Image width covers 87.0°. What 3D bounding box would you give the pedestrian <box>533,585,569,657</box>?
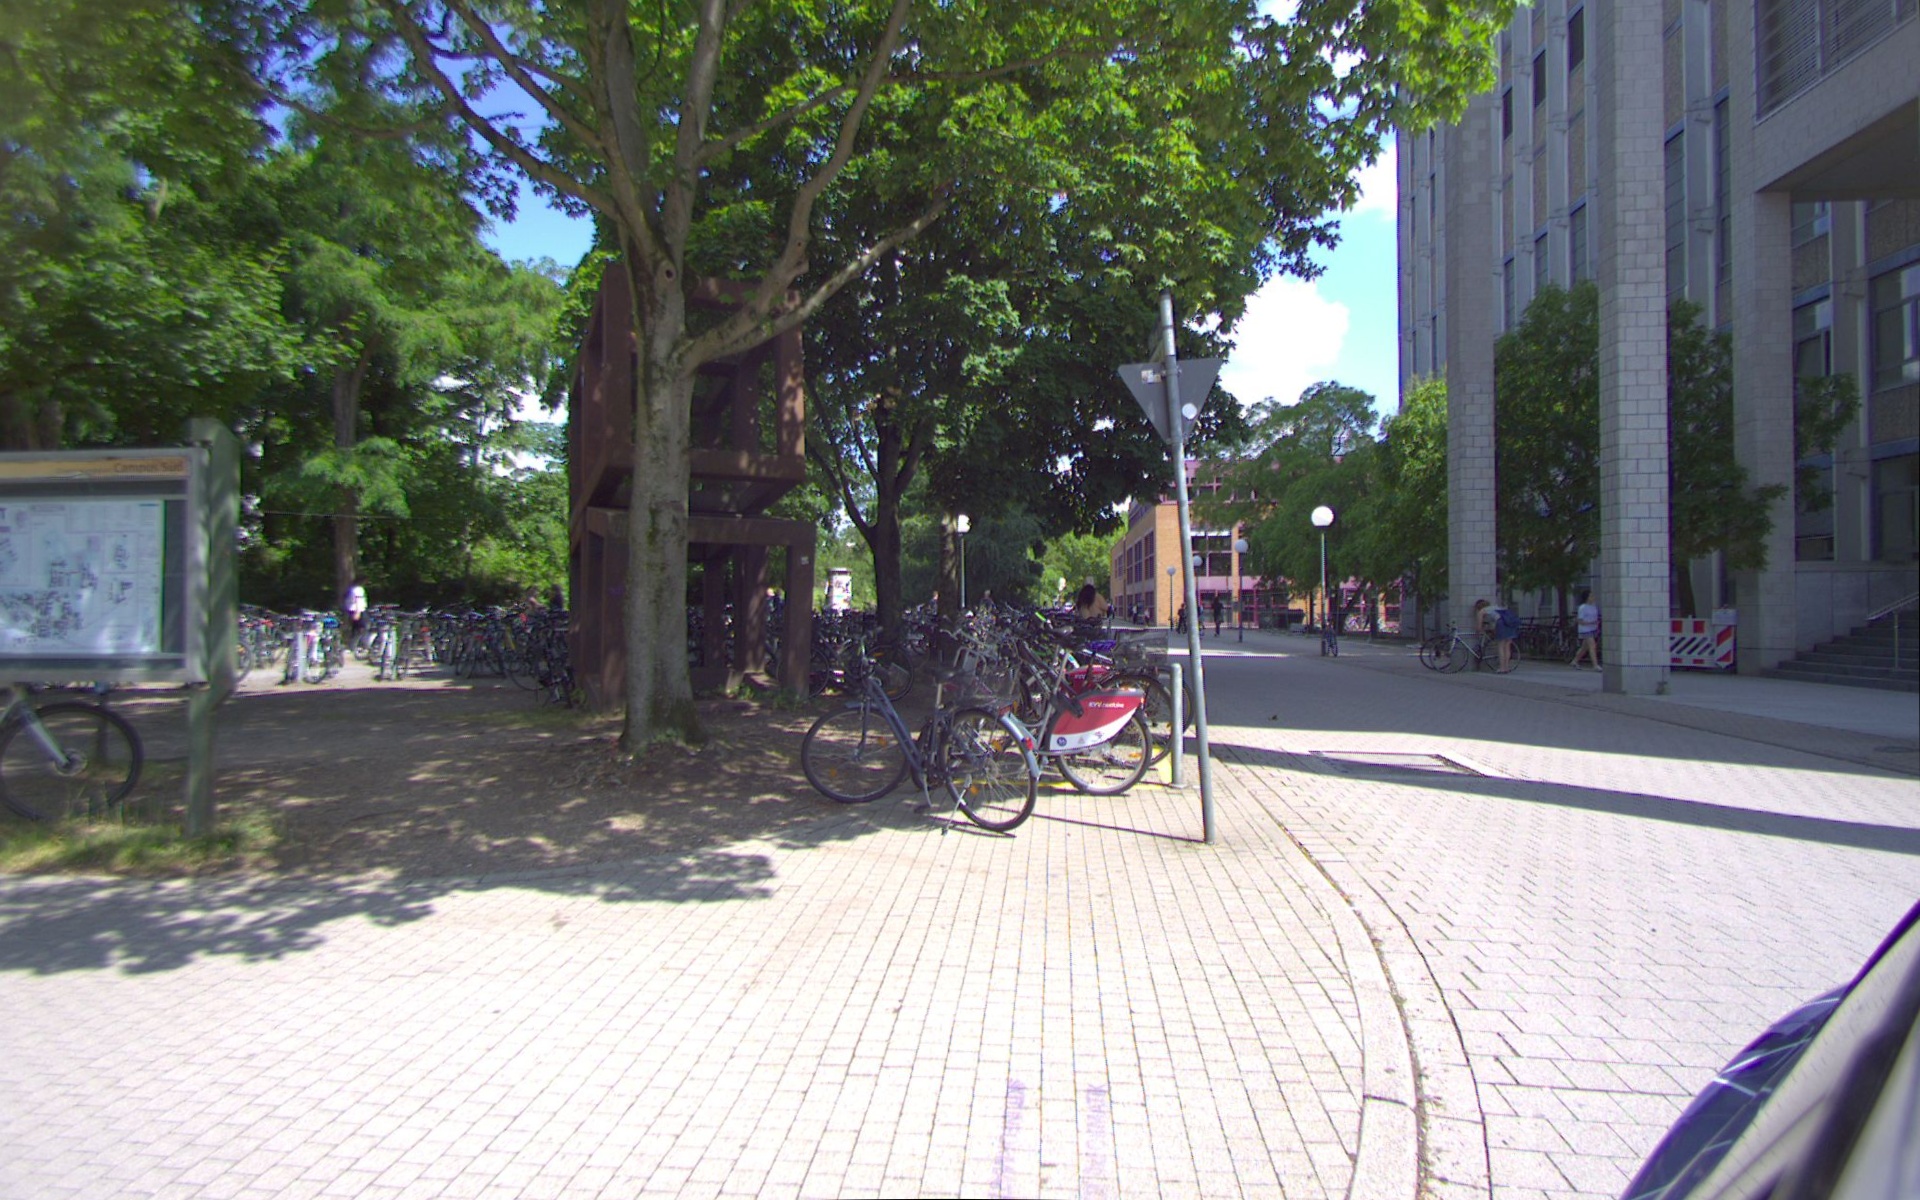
[{"bbox_3d":[-10.433,0.515,25.819,0.795,1.797,0.856,0,0,-27],"label":"pedestrian"}]

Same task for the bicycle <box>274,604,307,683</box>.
[{"bbox_3d":[-10.655,0.661,16.125,0.346,1.185,1.847,0,0,-31],"label":"bicycle"}]

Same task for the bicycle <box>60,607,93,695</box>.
[{"bbox_3d":[-12.740,0.698,14.594,0.339,1.185,1.842,0,0,-41],"label":"bicycle"}]

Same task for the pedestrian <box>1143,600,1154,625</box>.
[{"bbox_3d":[14.224,0.945,76.344,0.731,1.785,0.974,0,2,5],"label":"pedestrian"}]

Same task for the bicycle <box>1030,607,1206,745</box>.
[{"bbox_3d":[1.316,0.629,8.587,1.414,1.099,0.460,1,1,4],"label":"bicycle"}]

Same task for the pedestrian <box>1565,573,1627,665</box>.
[{"bbox_3d":[12.549,0.380,20.002,0.738,1.762,0.933,-1,-1,14],"label":"pedestrian"}]

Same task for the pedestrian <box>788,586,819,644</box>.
[{"bbox_3d":[-5.001,0.475,32.382,0.708,1.812,0.744,0,0,-38],"label":"pedestrian"}]

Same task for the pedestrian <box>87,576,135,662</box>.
[{"bbox_3d":[-18.186,0.398,21.694,0.707,1.797,0.745,0,0,-34],"label":"pedestrian"}]

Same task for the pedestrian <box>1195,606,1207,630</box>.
[{"bbox_3d":[15.647,1.153,65.624,0.679,1.530,0.515,0,2,4],"label":"pedestrian"}]

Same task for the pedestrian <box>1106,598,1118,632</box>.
[{"bbox_3d":[8.032,0.785,53.385,0.555,1.785,0.803,0,2,4],"label":"pedestrian"}]

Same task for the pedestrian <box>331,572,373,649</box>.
[{"bbox_3d":[-14.647,0.246,24.383,0.742,1.797,0.709,0,0,44],"label":"pedestrian"}]

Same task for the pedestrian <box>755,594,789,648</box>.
[{"bbox_3d":[-5.664,0.618,30.536,0.742,1.589,0.710,0,0,43],"label":"pedestrian"}]

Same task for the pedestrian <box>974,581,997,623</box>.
[{"bbox_3d":[0.969,0.088,38.543,0.734,1.589,0.718,0,0,14],"label":"pedestrian"}]

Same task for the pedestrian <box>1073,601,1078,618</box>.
[{"bbox_3d":[12.461,1.033,109.096,0.556,1.785,0.802,0,2,11],"label":"pedestrian"}]

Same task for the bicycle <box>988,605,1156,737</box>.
[{"bbox_3d":[1.003,0.618,9.097,1.449,1.099,0.460,1,1,7],"label":"bicycle"}]

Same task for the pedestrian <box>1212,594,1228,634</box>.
[{"bbox_3d":[12.163,0.637,47.325,0.733,1.785,0.971,0,2,15],"label":"pedestrian"}]

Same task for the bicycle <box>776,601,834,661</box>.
[{"bbox_3d":[-3.251,0.620,21.100,0.339,1.185,1.843,0,0,-38],"label":"bicycle"}]

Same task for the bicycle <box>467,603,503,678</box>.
[{"bbox_3d":[-8.014,0.642,17.039,0.380,1.185,1.847,0,0,-31],"label":"bicycle"}]

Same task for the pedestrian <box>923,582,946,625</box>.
[{"bbox_3d":[-0.949,0.131,37.802,0.734,1.589,0.718,0,0,14],"label":"pedestrian"}]

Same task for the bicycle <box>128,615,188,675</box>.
[{"bbox_3d":[-14.624,0.788,18.490,0.371,0.991,1.907,-1,1,-24],"label":"bicycle"}]

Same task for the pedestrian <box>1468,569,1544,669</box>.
[{"bbox_3d":[9.956,0.345,18.479,0.733,1.762,0.939,-1,-1,-13],"label":"pedestrian"}]

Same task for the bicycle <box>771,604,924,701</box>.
[{"bbox_3d":[-1.368,0.615,12.317,1.800,1.091,0.462,1,1,14],"label":"bicycle"}]

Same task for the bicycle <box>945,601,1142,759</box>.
[{"bbox_3d":[0.665,0.607,8.215,1.510,1.155,0.488,1,1,26],"label":"bicycle"}]

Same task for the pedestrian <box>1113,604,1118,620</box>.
[{"bbox_3d":[17.295,1.321,112.570,0.556,1.785,0.802,0,2,11],"label":"pedestrian"}]

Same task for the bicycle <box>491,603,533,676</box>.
[{"bbox_3d":[-7.738,0.656,17.450,0.381,1.185,1.846,0,0,-33],"label":"bicycle"}]

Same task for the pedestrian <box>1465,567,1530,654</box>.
[{"bbox_3d":[11.223,0.216,21.156,0.733,1.762,0.939,-1,-1,-13],"label":"pedestrian"}]

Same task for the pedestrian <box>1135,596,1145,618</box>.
[{"bbox_3d":[15.408,0.574,86.652,0.731,1.785,0.974,0,2,5],"label":"pedestrian"}]

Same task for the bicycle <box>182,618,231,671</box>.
[{"bbox_3d":[-15.498,0.892,20.842,0.371,0.991,1.907,-1,1,-24],"label":"bicycle"}]

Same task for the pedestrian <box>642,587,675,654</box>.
[{"bbox_3d":[-8.149,0.546,27.342,0.706,1.797,0.657,0,0,-31],"label":"pedestrian"}]

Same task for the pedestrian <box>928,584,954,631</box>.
[{"bbox_3d":[-0.648,0.256,35.009,0.734,1.589,0.718,0,0,14],"label":"pedestrian"}]

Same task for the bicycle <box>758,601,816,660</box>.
[{"bbox_3d":[-3.602,0.605,20.991,0.339,1.185,1.843,0,0,-38],"label":"bicycle"}]

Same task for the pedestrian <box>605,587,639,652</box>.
[{"bbox_3d":[-9.521,0.524,28.502,0.708,1.797,0.744,0,0,-40],"label":"pedestrian"}]

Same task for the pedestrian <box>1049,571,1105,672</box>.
[{"bbox_3d":[2.016,0.378,17.492,0.927,1.725,0.428,0,-2,2],"label":"pedestrian"}]

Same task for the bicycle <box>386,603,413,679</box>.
[{"bbox_3d":[-9.392,0.653,16.927,0.346,1.185,1.847,0,0,-31],"label":"bicycle"}]

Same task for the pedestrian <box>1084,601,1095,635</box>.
[{"bbox_3d":[5.971,0.807,46.614,0.506,1.530,0.690,0,2,8],"label":"pedestrian"}]

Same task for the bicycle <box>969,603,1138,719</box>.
[{"bbox_3d":[0.963,0.604,10.362,1.670,1.099,0.480,1,1,12],"label":"bicycle"}]

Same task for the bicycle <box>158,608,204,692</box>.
[{"bbox_3d":[-11.806,0.726,15.355,0.338,1.185,1.846,0,0,-31],"label":"bicycle"}]

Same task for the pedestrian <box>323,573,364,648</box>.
[{"bbox_3d":[-15.157,0.248,24.883,0.742,1.797,0.709,0,0,44],"label":"pedestrian"}]

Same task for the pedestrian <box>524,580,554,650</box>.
[{"bbox_3d":[-11.036,0.391,26.520,0.706,1.797,0.746,0,0,-26],"label":"pedestrian"}]

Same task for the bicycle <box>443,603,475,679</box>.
[{"bbox_3d":[-8.428,0.656,16.998,0.346,1.185,1.847,0,0,-31],"label":"bicycle"}]

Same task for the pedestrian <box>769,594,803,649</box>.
[{"bbox_3d":[-5.156,0.625,29.929,0.708,1.589,0.743,0,0,-42],"label":"pedestrian"}]

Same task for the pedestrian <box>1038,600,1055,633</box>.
[{"bbox_3d":[4.174,0.784,48.768,0.506,1.530,0.691,-2,3,-37],"label":"pedestrian"}]

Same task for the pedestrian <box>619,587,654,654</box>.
[{"bbox_3d":[-8.892,0.543,27.789,0.707,1.797,0.744,0,0,-37],"label":"pedestrian"}]

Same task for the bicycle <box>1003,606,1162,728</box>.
[{"bbox_3d":[1.196,0.628,9.841,1.491,1.099,0.480,1,1,12],"label":"bicycle"}]

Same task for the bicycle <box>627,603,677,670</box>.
[{"bbox_3d":[-5.782,0.648,18.927,0.405,1.185,1.846,0,0,-33],"label":"bicycle"}]

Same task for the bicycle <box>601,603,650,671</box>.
[{"bbox_3d":[-6.187,0.646,18.655,0.405,1.185,1.846,0,0,-33],"label":"bicycle"}]

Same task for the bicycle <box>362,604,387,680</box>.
[{"bbox_3d":[-9.687,0.663,16.738,0.346,1.185,1.847,0,0,-31],"label":"bicycle"}]

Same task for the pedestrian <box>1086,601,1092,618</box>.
[{"bbox_3d":[13.897,1.046,108.754,0.556,1.785,0.802,0,2,11],"label":"pedestrian"}]

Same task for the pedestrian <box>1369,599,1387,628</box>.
[{"bbox_3d":[27.136,0.881,65.691,0.967,1.785,0.736,1,3,32],"label":"pedestrian"}]

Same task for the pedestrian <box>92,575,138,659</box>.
[{"bbox_3d":[-18.643,0.367,22.338,0.707,1.797,0.745,0,0,-34],"label":"pedestrian"}]

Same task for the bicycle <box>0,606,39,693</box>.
[{"bbox_3d":[-13.544,0.681,14.287,0.338,1.185,1.847,0,0,-28],"label":"bicycle"}]

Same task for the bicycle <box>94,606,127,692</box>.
[{"bbox_3d":[-12.458,0.685,14.830,0.339,1.185,1.842,0,0,-41],"label":"bicycle"}]

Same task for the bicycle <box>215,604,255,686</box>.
[{"bbox_3d":[-11.229,0.667,15.699,0.338,1.185,1.847,0,0,-31],"label":"bicycle"}]

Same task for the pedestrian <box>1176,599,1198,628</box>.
[{"bbox_3d":[12.485,0.738,55.738,0.726,1.530,1.189,2,3,40],"label":"pedestrian"}]

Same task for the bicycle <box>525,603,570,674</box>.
[{"bbox_3d":[-7.318,0.644,17.915,0.405,1.185,1.846,0,0,-33],"label":"bicycle"}]

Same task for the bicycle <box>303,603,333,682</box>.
[{"bbox_3d":[-10.320,0.652,16.280,0.346,1.185,1.847,0,0,-31],"label":"bicycle"}]

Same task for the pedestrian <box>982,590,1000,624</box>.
[{"bbox_3d":[1.442,0.306,46.602,0.506,1.530,0.691,-2,3,-37],"label":"pedestrian"}]

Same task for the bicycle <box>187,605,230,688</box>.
[{"bbox_3d":[-11.515,0.676,15.529,0.338,1.185,1.847,0,0,-31],"label":"bicycle"}]
